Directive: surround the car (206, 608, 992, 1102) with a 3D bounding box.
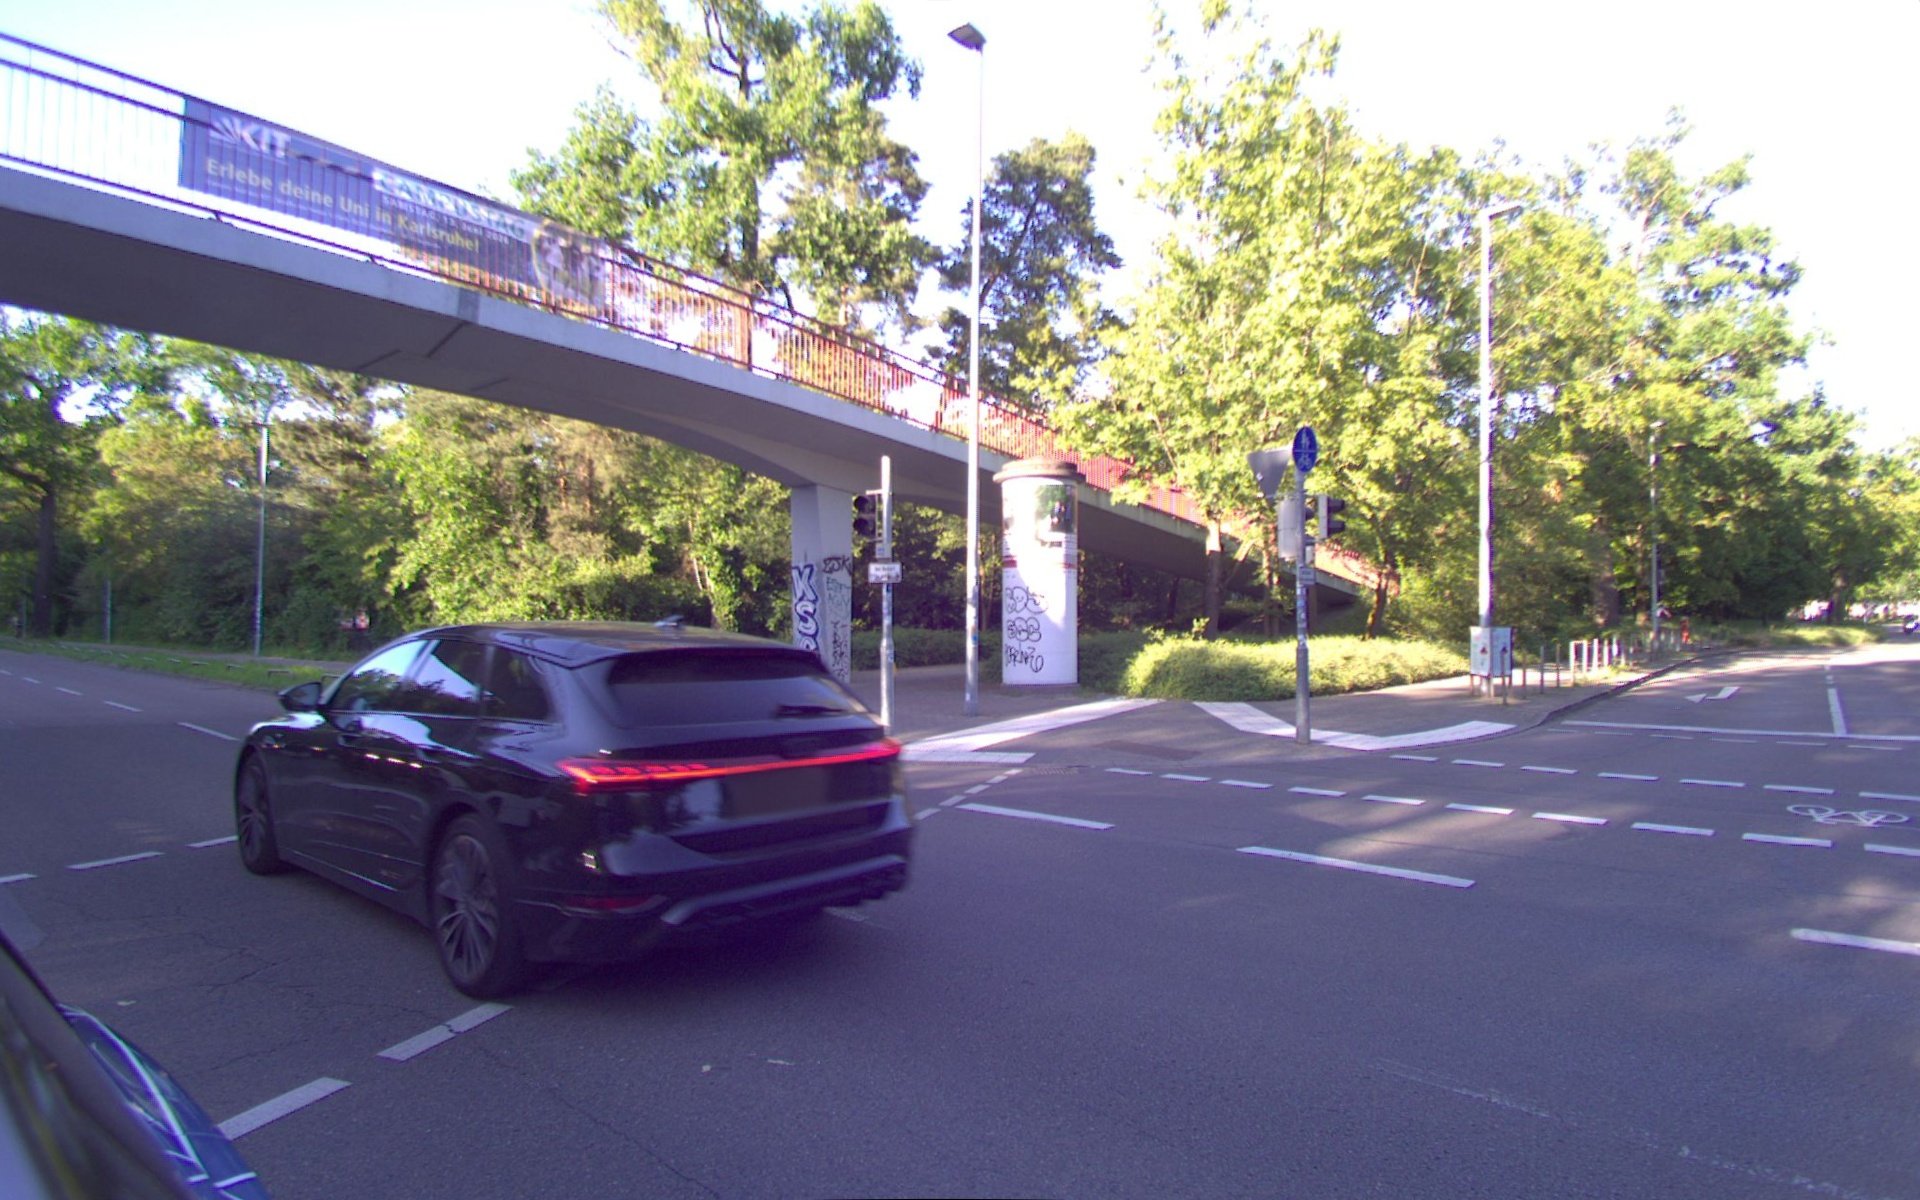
[{"bbox_3d":[-2.230,0.812,5.395,4.645,1.517,1.940,-1,-1,41],"label":"car"}]
